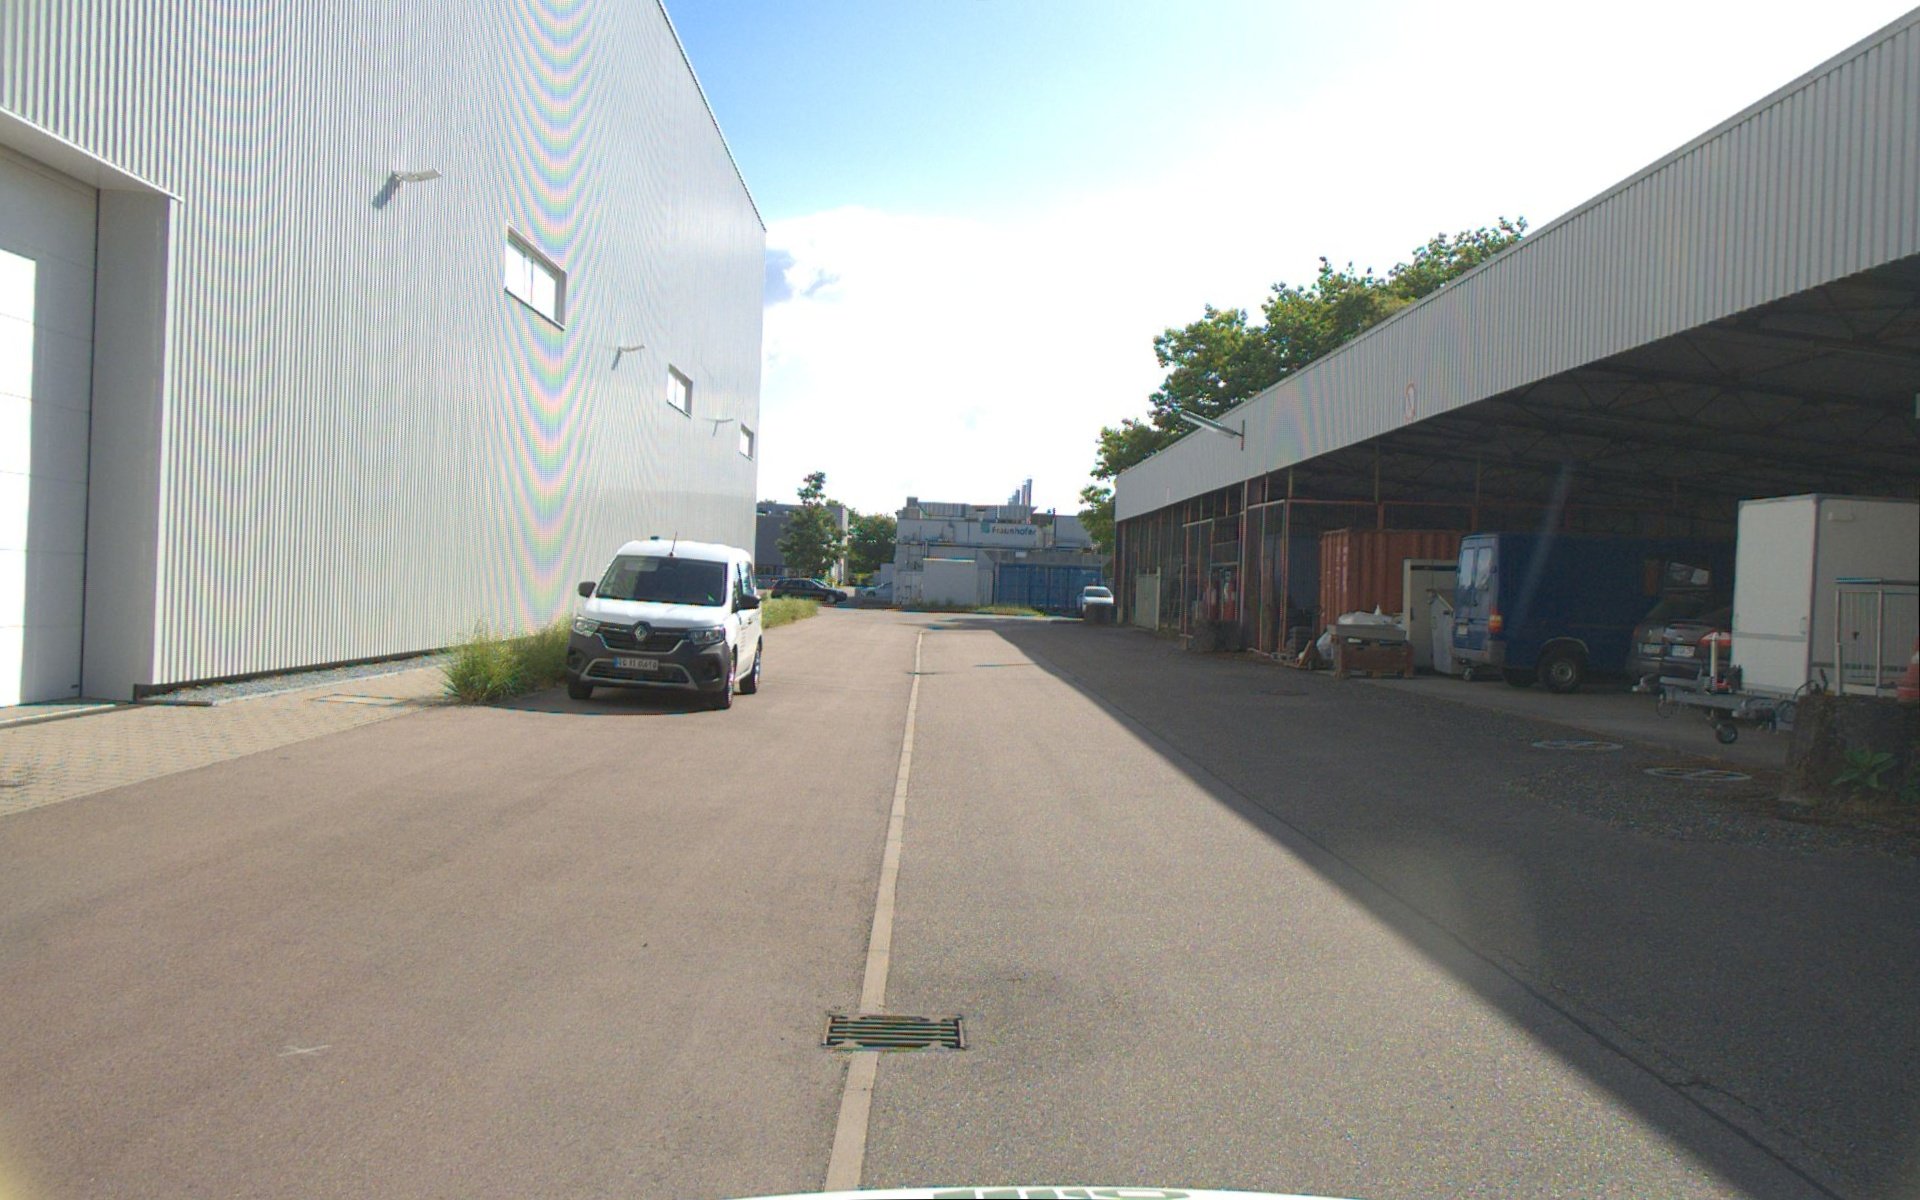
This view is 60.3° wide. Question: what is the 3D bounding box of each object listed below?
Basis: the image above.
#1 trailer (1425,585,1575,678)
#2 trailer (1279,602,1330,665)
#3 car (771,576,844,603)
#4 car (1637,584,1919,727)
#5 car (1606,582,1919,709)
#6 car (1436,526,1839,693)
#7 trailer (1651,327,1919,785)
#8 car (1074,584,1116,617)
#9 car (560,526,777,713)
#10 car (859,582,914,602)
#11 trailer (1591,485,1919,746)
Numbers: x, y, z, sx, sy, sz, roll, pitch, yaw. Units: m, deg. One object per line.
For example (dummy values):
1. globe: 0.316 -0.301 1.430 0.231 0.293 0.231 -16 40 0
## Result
1. trailer: 8.989 0.500 27.655 1.996 1.492 1.739 0 0 3
2. trailer: 6.387 0.613 30.701 0.541 1.138 1.546 0 0 -3
3. car: -9.319 -0.631 101.345 4.358 1.557 1.823 1 0 -2
4. car: 10.180 0.615 18.832 4.164 1.497 1.868 1 1 -4
5. car: 10.871 0.589 21.934 3.886 1.540 1.838 1 0 -4
6. car: 10.149 0.143 25.069 5.225 2.321 2.152 1 0 -2
7. trailer: 11.367 -0.311 13.802 10.059 3.401 2.801 0 0 -1
8. car: 7.263 -0.015 89.297 1.939 1.630 4.378 0 2 0
9. car: -3.293 0.200 19.534 1.747 1.847 4.600 3 0 -1
10. car: -5.752 -0.649 129.331 4.216 1.483 1.823 1 0 -2
11. trailer: 8.791 0.148 16.239 4.424 2.383 2.047 0 0 0
